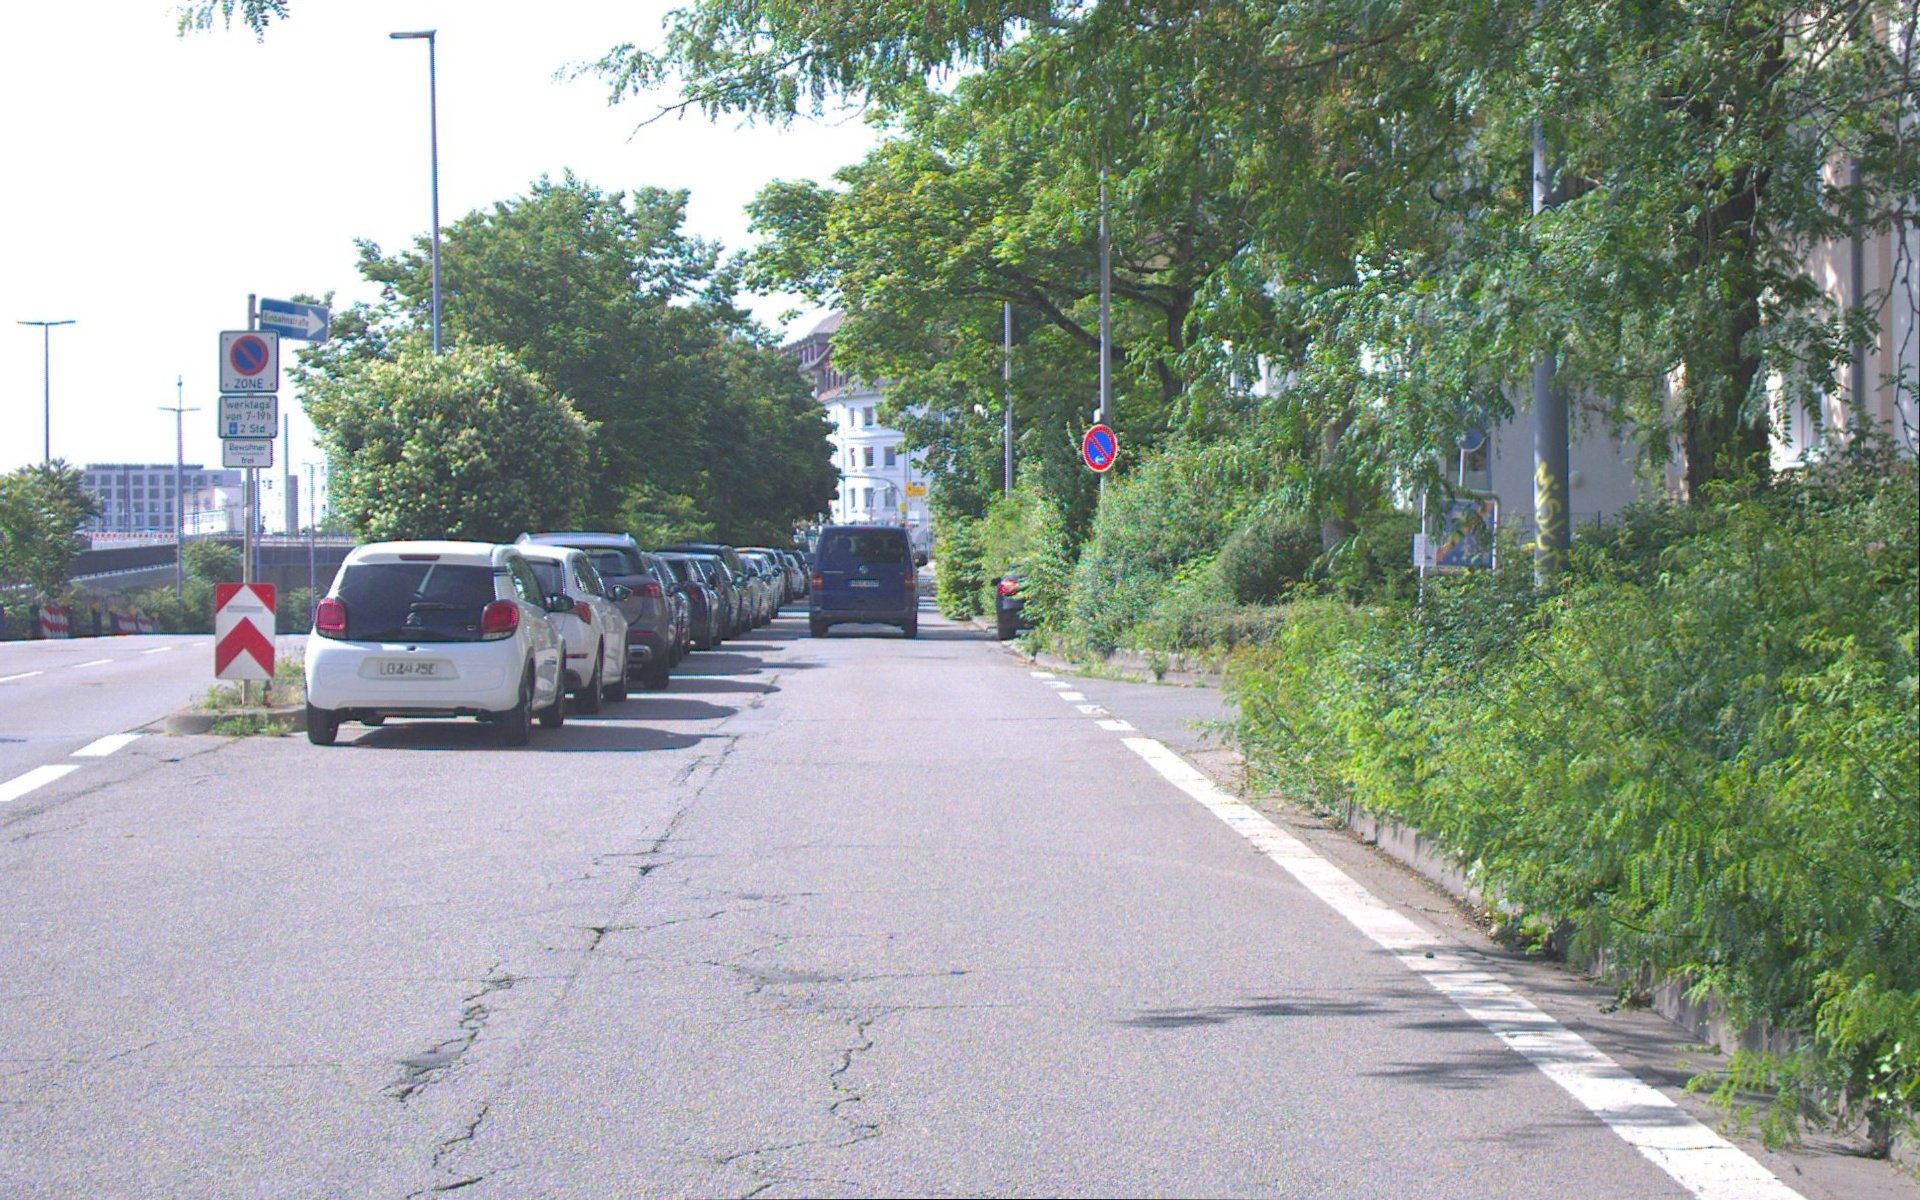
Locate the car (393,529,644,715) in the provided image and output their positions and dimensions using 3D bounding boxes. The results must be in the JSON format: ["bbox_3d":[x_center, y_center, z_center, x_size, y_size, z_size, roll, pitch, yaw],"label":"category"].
[{"bbox_3d":[-3.887,0.164,30.858,1.721,1.500,4.132,2,1,-1],"label":"car"}]

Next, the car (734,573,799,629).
[{"bbox_3d":[-5.601,0.014,99.901,1.664,1.504,4.008,2,1,-1],"label":"car"}]

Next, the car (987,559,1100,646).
[{"bbox_3d":[1.413,0.034,59.247,1.726,1.415,4.000,-1,0,-1],"label":"car"}]

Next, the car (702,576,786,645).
[{"bbox_3d":[-4.911,0.226,78.492,1.664,1.463,4.201,2,1,-1],"label":"car"}]

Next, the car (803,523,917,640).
[{"bbox_3d":[-1.729,-0.335,60.434,1.883,1.915,4.008,2,1,-1],"label":"car"}]

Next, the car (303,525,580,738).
[{"bbox_3d":[-3.895,0.208,26.279,1.619,1.500,3.462,1,1,-1],"label":"car"}]

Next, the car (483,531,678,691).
[{"bbox_3d":[-3.953,0.084,36.342,1.771,1.574,4.187,-1,1,-3],"label":"car"}]

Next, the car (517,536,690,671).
[{"bbox_3d":[-4.263,0.020,41.605,1.664,1.469,3.876,3,1,-1],"label":"car"}]

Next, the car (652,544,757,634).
[{"bbox_3d":[-4.643,-0.222,62.788,1.663,1.578,3.932,0,1,-1],"label":"car"}]

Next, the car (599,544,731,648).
[{"bbox_3d":[-4.428,-0.078,52.032,1.664,1.468,3.789,2,1,-1],"label":"car"}]

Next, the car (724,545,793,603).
[{"bbox_3d":[-5.558,-0.728,95.101,1.664,1.504,4.008,2,1,-1],"label":"car"}]

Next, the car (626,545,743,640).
[{"bbox_3d":[-4.616,-0.143,57.969,1.664,1.506,3.789,2,1,-1],"label":"car"}]

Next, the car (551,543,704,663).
[{"bbox_3d":[-4.513,0.018,47.135,1.664,1.506,4.594,2,1,-1],"label":"car"}]

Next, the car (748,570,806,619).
[{"bbox_3d":[-5.873,-0.195,110.891,1.664,1.504,4.008,2,1,-1],"label":"car"}]

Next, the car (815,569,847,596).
[{"bbox_3d":[-8.127,-1.098,216.867,1.993,1.651,4.000,0,0,-2],"label":"car"}]
